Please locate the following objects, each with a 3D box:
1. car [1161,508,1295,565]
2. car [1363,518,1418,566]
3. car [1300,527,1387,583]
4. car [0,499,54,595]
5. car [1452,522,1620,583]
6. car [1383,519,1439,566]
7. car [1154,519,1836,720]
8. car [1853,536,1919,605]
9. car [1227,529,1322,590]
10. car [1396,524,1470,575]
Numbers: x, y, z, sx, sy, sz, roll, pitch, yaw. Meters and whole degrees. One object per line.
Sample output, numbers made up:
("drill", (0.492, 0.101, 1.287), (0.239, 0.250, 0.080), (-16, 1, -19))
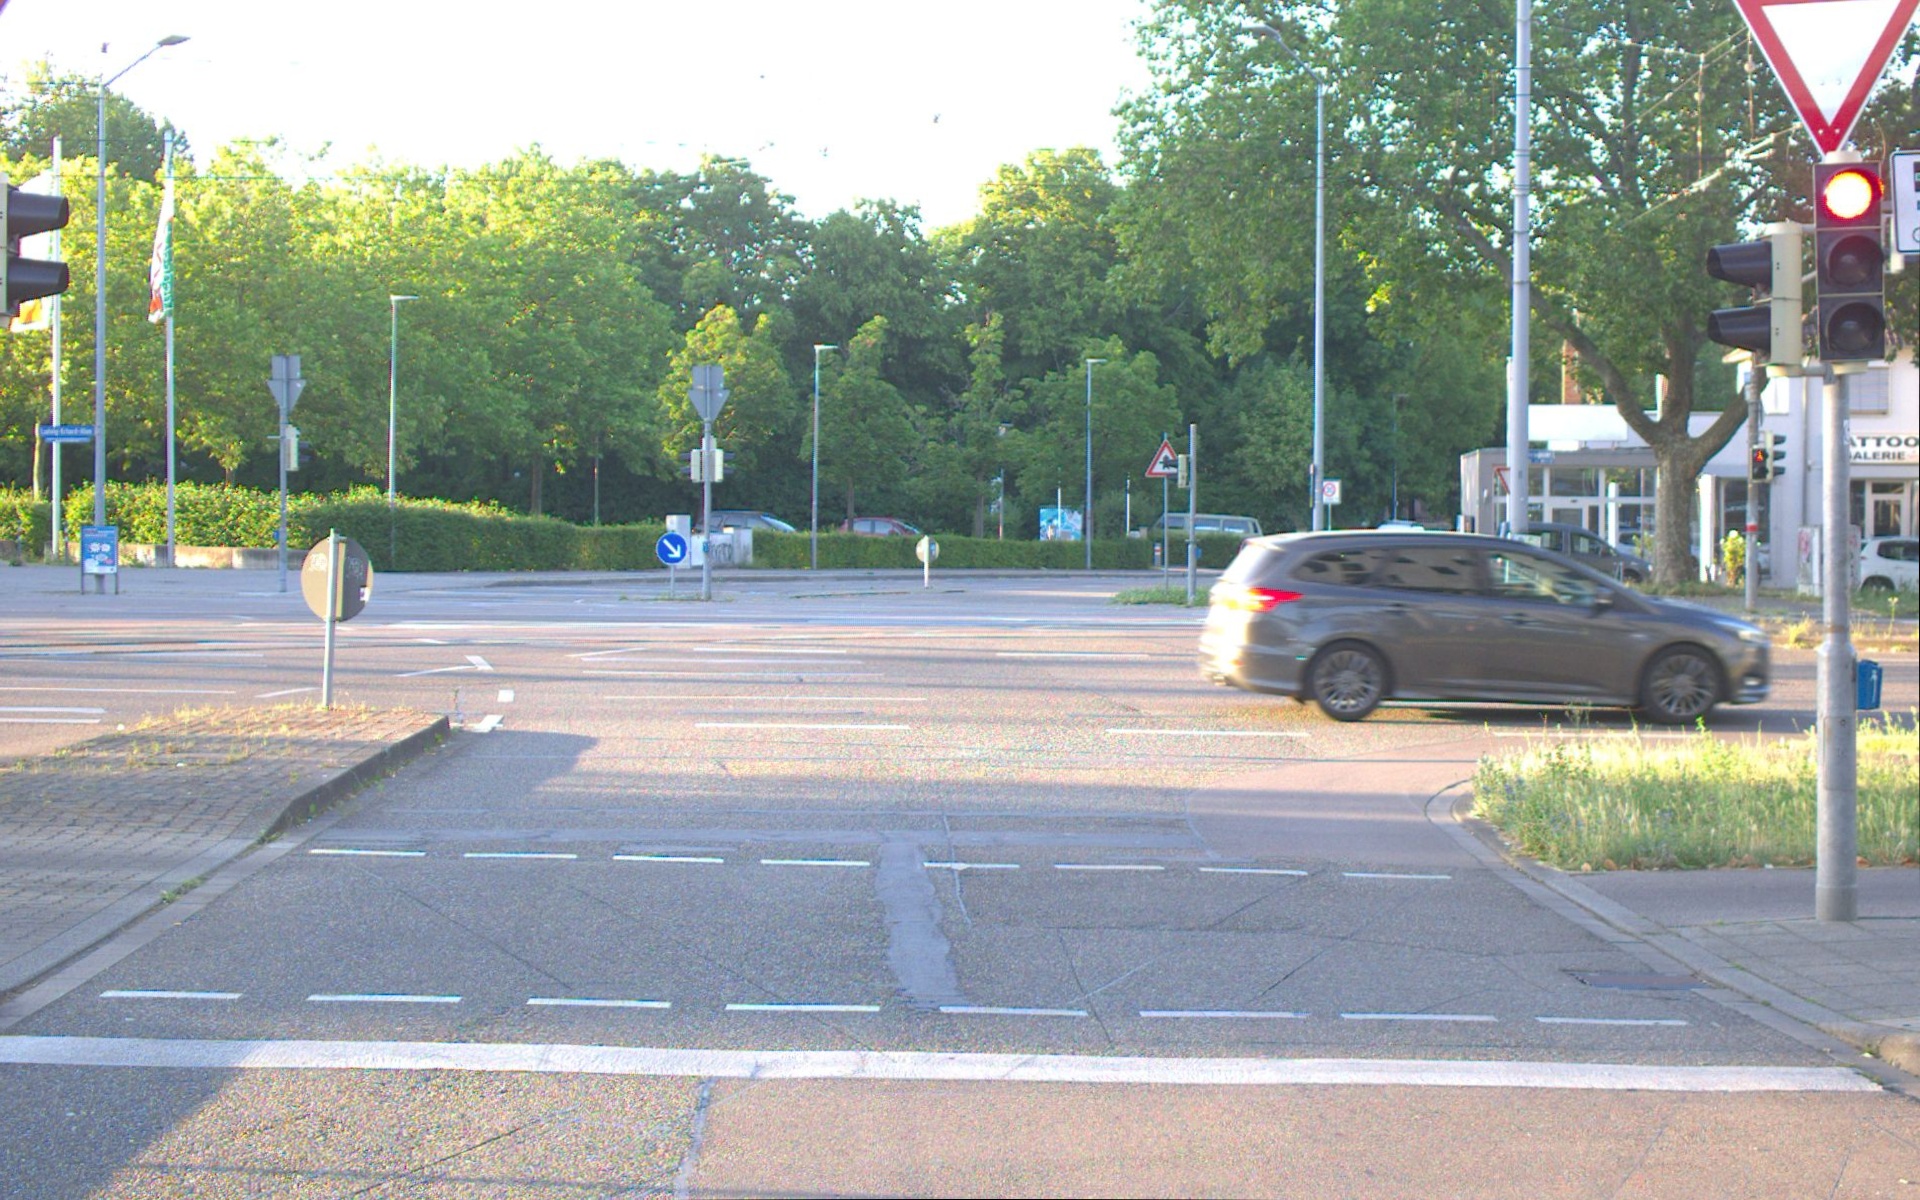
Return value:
("car", (9.783, -2.323, 125.877), (4.774, 1.999, 2.000), (0, 0, 2))
("car", (16.428, -2.194, 131.191), (1.864, 1.788, 3.998), (1, 0, 10))
("car", (11.556, -1.341, 103.376), (1.995, 1.656, 3.997), (1, 0, 15))
("car", (-16.652, -0.847, 54.177), (4.330, 1.491, 1.804), (0, 0, -4))
("car", (14.911, -1.220, 89.170), (4.220, 1.547, 1.999), (1, 0, 7))
("car", (17.884, -2.257, 136.086), (1.864, 1.788, 3.998), (1, 0, 12))
("car", (4.183, 0.136, 27.356), (5.007, 1.506, 1.988), (0, 1, -5))
("car", (20.761, -0.605, 72.183), (3.741, 1.435, 1.663), (1, 0, 9))
("car", (8.776, -1.102, 95.690), (1.995, 1.656, 3.997), (1, 0, 15))
("car", (15.922, -1.680, 115.600), (1.995, 1.656, 3.997), (1, 0, 15))
